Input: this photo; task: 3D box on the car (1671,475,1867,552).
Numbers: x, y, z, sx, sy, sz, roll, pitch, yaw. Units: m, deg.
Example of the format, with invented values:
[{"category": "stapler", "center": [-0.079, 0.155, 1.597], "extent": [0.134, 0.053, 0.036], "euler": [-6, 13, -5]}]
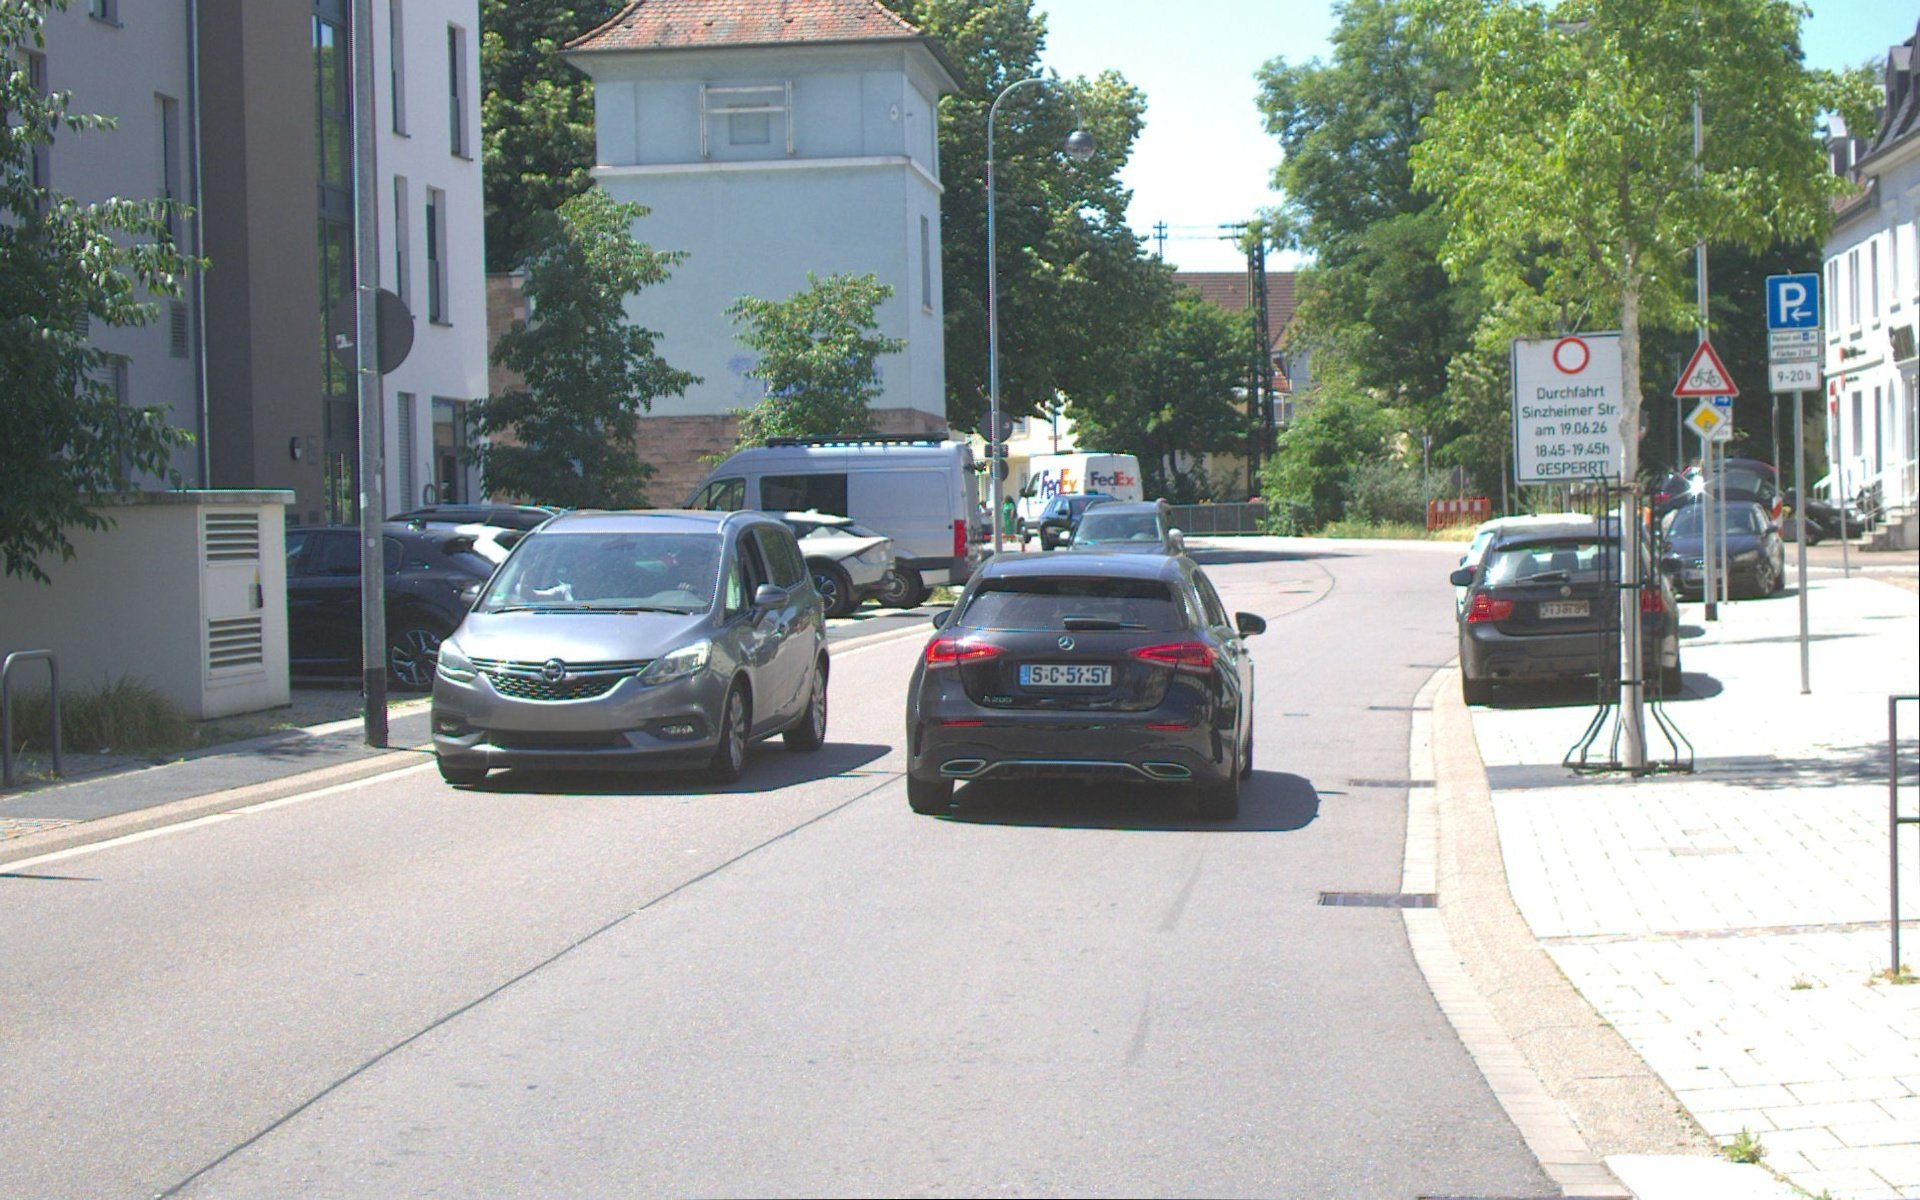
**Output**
[{"category": "car", "center": [18.243, -1.957, 77.661], "extent": [4.076, 1.710, 1.856], "euler": [0, 1, 6]}]

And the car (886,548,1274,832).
[{"category": "car", "center": [0.795, 0.451, 19.758], "extent": [1.828, 1.437, 3.999], "euler": [1, 0, 8]}]

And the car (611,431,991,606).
[{"category": "car", "center": [-2.519, -1.323, 55.333], "extent": [5.769, 2.723, 2.291], "euler": [1, 1, 9]}]

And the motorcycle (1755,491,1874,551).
[{"category": "motorcycle", "center": [18.358, -1.691, 73.894], "extent": [2.377, 1.271, 0.856], "euler": [0, 2, 7]}]

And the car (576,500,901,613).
[{"category": "car", "center": [-3.226, -0.655, 50.596], "extent": [4.455, 1.586, 2.000], "euler": [1, 1, 8]}]

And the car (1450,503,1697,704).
[{"category": "car", "center": [5.094, 0.007, 28.874], "extent": [1.833, 1.477, 4.094], "euler": [-3, 0, 9]}]

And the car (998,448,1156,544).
[{"category": "car", "center": [3.338, -2.954, 99.275], "extent": [2.127, 2.621, 5.278], "euler": [-1, 0, -29]}]

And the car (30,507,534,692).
[{"category": "car", "center": [-6.015, -0.038, 30.783], "extent": [3.988, 1.510, 2.000], "euler": [1, 3, 8]}]

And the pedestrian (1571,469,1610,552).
[{"category": "pedestrian", "center": [13.813, -1.966, 75.324], "extent": [0.746, 1.790, 0.843], "euler": [-1, 3, 15]}]

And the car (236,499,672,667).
[{"category": "car", "center": [-5.194, -0.205, 35.563], "extent": [4.034, 1.645, 1.999], "euler": [1, 1, 10]}]

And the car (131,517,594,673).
[{"category": "car", "center": [-5.696, -0.073, 33.028], "extent": [3.988, 1.416, 1.909], "euler": [1, 1, 8]}]

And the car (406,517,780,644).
[{"category": "car", "center": [-4.331, -0.254, 40.908], "extent": [4.034, 1.425, 1.999], "euler": [1, 1, 10]}]

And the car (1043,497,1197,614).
[{"category": "car", "center": [2.556, -0.691, 54.069], "extent": [1.811, 1.695, 4.074], "euler": [-3, 0, 10]}]

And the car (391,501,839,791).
[{"category": "car", "center": [-2.058, 0.226, 21.805], "extent": [1.943, 1.653, 4.234], "euler": [0, 1, 7]}]

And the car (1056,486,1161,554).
[{"category": "car", "center": [3.626, -1.997, 84.553], "extent": [1.893, 1.548, 4.800], "euler": [-1, 2, -6]}]

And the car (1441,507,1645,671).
[{"category": "car", "center": [5.958, -0.147, 34.822], "extent": [1.738, 1.481, 4.052], "euler": [-3, 1, 13]}]

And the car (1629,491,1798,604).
[{"category": "car", "center": [11.406, -0.810, 51.875], "extent": [1.874, 1.486, 3.858], "euler": [-2, 2, 21]}]

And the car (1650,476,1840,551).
[{"category": "car", "center": [18.153, -2.008, 79.640], "extent": [4.076, 1.710, 1.856], "euler": [0, 1, 6]}]

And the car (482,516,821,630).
[{"category": "car", "center": [-4.019, -0.368, 45.258], "extent": [4.200, 1.432, 1.886], "euler": [1, 1, 4]}]
